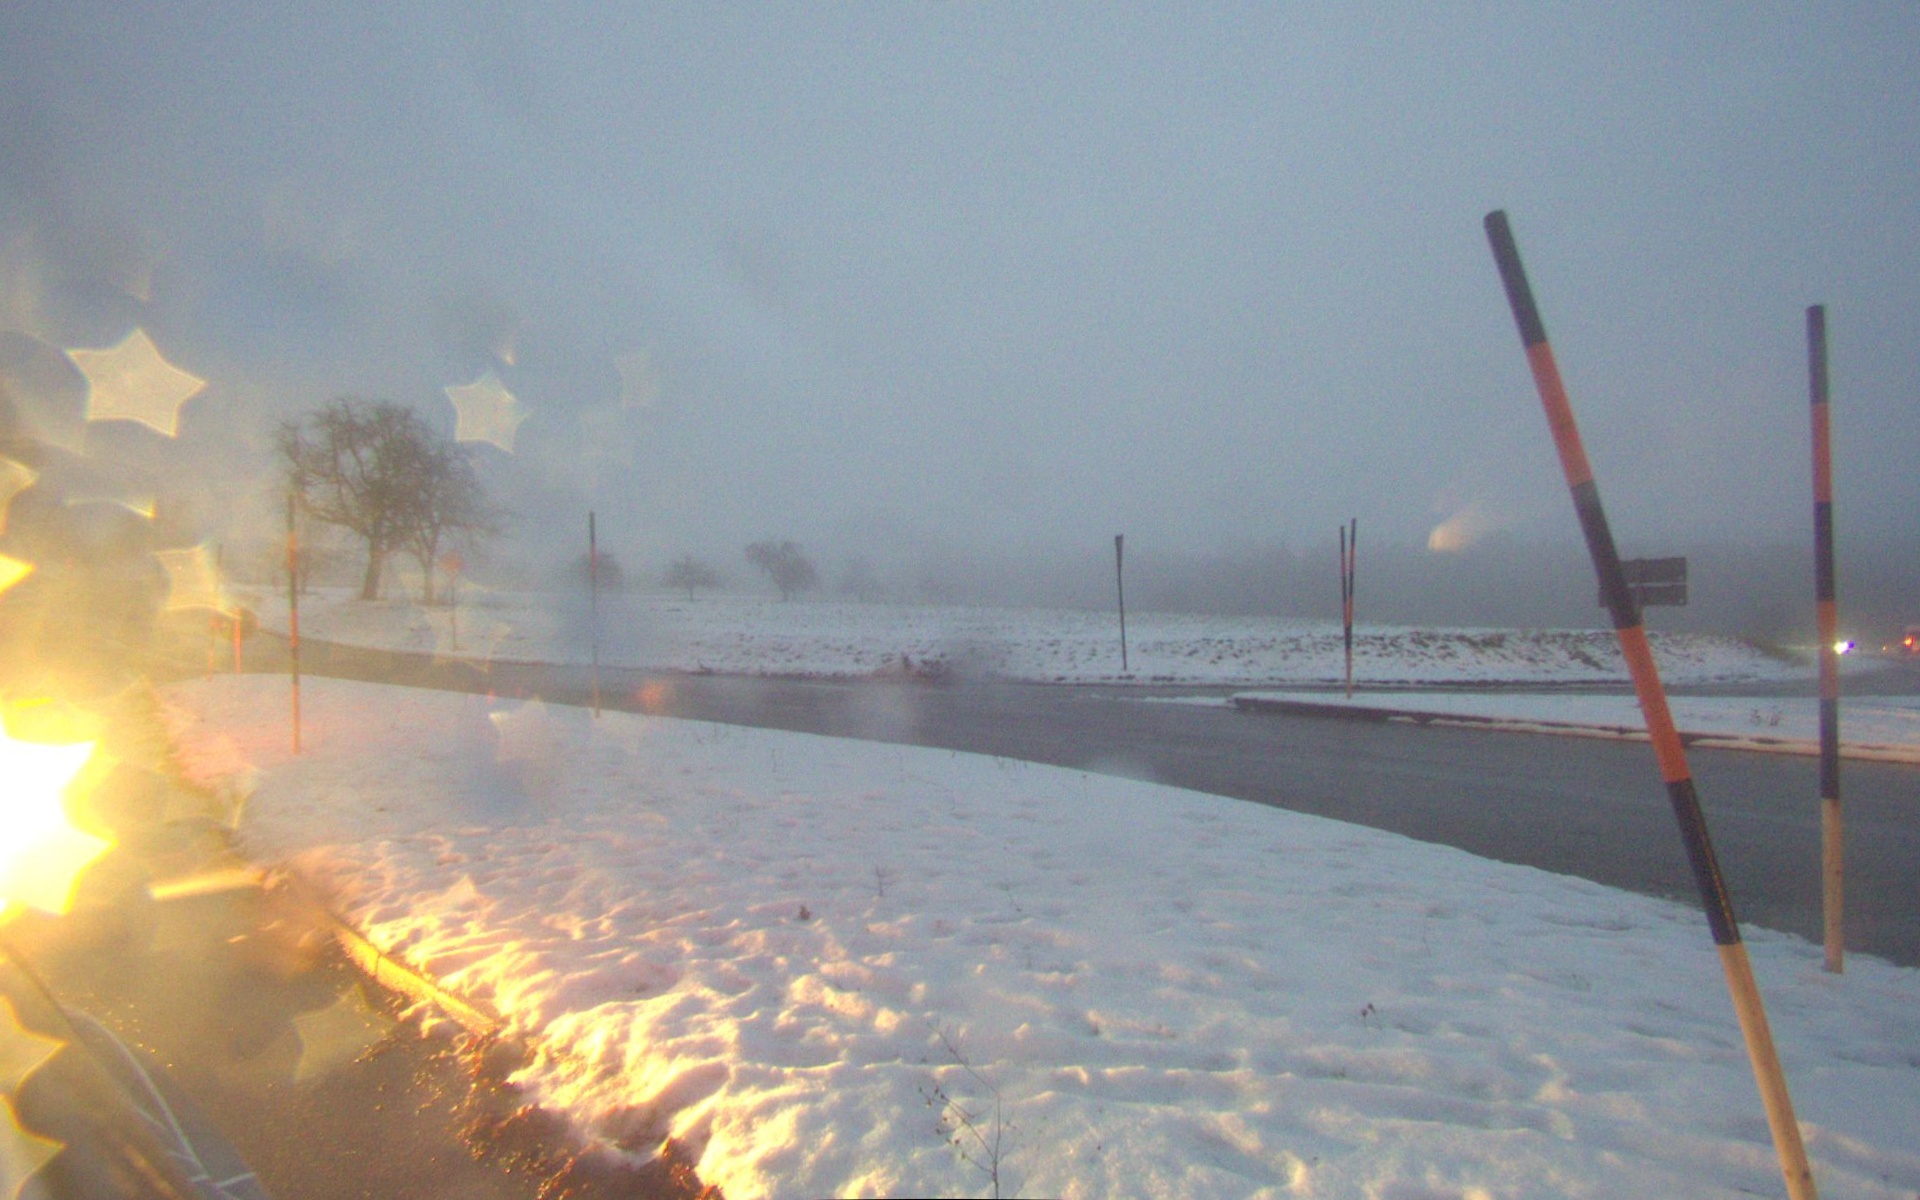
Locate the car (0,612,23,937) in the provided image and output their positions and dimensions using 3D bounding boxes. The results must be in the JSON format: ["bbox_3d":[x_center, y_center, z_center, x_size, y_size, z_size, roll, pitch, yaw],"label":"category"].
[{"bbox_3d":[-6.152,0.800,5.216,3.677,1.445,1.702,0,0,43],"label":"car"}]

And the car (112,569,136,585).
[{"bbox_3d":[-93.589,-2.547,113.288,1.969,1.820,4.006,0,1,-41],"label":"car"}]

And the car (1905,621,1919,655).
[{"bbox_3d":[85.239,3.335,89.396,2.151,2.716,5.456,1,2,40],"label":"car"}]
